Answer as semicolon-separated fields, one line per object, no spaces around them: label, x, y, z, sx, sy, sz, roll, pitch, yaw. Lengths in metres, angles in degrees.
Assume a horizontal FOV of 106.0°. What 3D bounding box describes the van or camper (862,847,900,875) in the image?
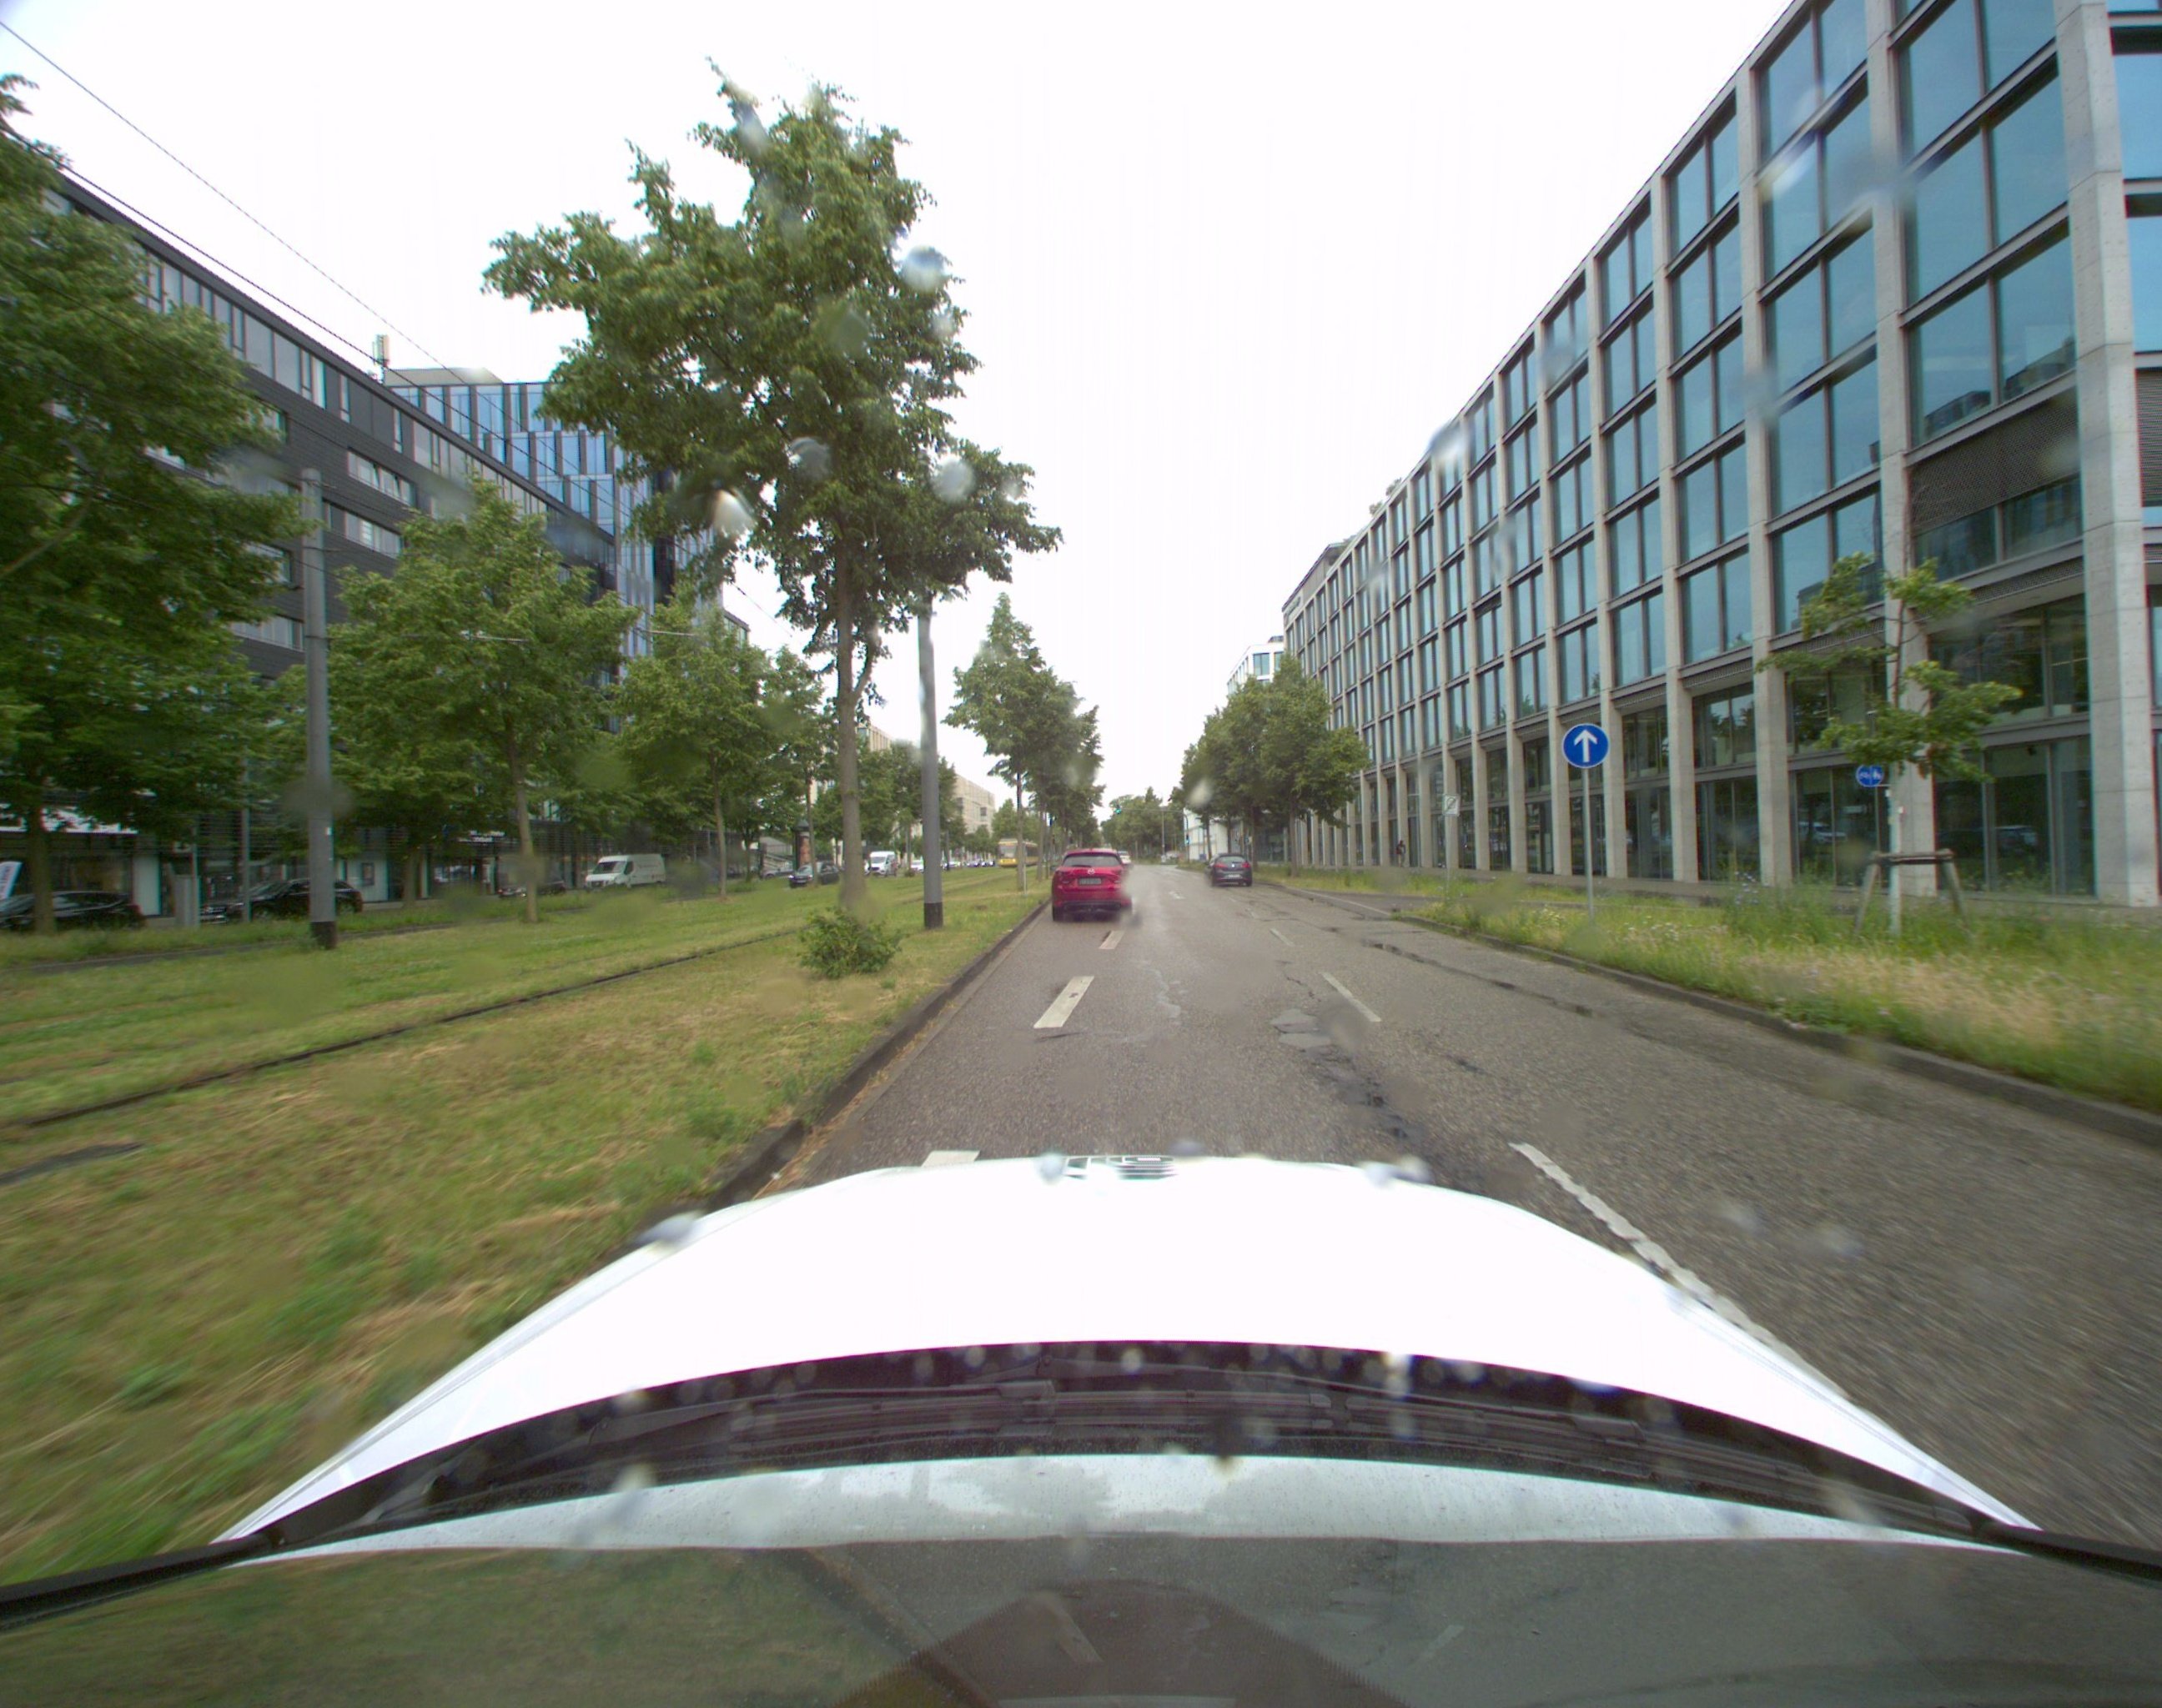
van or camper;-17.946;0.603;73.409;1.902;2.410;5.404;-2;0;2

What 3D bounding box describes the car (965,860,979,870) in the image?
car;-19.748;1.963;147.753;1.987;1.618;3.999;-2;0;0

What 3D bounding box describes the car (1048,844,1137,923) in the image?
car;0.281;0.642;19.755;1.892;1.677;4.000;-1;0;1

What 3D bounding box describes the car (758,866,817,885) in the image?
car;-26.368;1.894;73.110;4.694;1.521;1.981;-1;0;-29

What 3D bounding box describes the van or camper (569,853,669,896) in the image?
van or camper;-27.343;1.140;48.527;2.424;2.315;5.851;-1;0;1

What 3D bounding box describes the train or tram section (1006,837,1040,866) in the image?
train or tram section;-7.662;-0.301;109.885;3.117;3.659;15.067;-1;0;1

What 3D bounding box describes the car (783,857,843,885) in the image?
car;-15.666;0.946;47.893;1.856;1.524;4.480;-2;0;2

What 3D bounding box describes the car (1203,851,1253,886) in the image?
car;6.424;0.604;35.980;1.736;1.465;3.785;-1;0;4

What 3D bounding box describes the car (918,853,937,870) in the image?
car;-23.435;1.107;124.568;2.250;2.561;4.650;-1;0;-3

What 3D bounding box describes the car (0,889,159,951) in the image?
car;-27.917;1.744;21.746;1.986;1.378;4.001;-1;0;1

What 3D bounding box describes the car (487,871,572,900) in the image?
car;-30.574;1.726;45.303;1.810;1.378;4.184;-1;0;1

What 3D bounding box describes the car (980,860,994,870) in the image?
car;-16.306;1.952;141.601;1.987;1.618;3.999;-2;0;0

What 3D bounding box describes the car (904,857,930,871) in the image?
car;-18.144;1.093;90.285;1.878;1.459;4.001;-2;0;1

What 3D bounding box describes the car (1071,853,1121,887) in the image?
car;0.744;0.689;37.076;1.950;1.465;3.788;-1;0;6

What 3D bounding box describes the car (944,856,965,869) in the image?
car;-14.936;0.972;96.113;1.704;1.404;4.001;-2;0;1

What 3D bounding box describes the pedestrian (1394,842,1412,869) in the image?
pedestrian;20.571;0.094;52.054;0.714;1.714;0.861;-3;0;0

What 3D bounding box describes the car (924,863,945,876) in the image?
car;-19.030;1.993;105.928;1.878;1.459;4.001;2;0;1

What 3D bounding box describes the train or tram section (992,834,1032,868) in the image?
train or tram section;-7.926;-0.306;95.605;3.117;3.659;13.409;-1;0;1

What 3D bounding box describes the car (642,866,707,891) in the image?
car;-27.138;1.615;54.502;1.987;1.521;4.606;-1;0;0

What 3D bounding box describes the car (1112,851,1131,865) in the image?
car;4.316;0.385;86.641;1.959;1.437;4.557;0;0;4

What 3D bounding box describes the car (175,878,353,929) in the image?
car;-27.626;1.624;27.771;1.696;1.449;4.242;-1;0;1
